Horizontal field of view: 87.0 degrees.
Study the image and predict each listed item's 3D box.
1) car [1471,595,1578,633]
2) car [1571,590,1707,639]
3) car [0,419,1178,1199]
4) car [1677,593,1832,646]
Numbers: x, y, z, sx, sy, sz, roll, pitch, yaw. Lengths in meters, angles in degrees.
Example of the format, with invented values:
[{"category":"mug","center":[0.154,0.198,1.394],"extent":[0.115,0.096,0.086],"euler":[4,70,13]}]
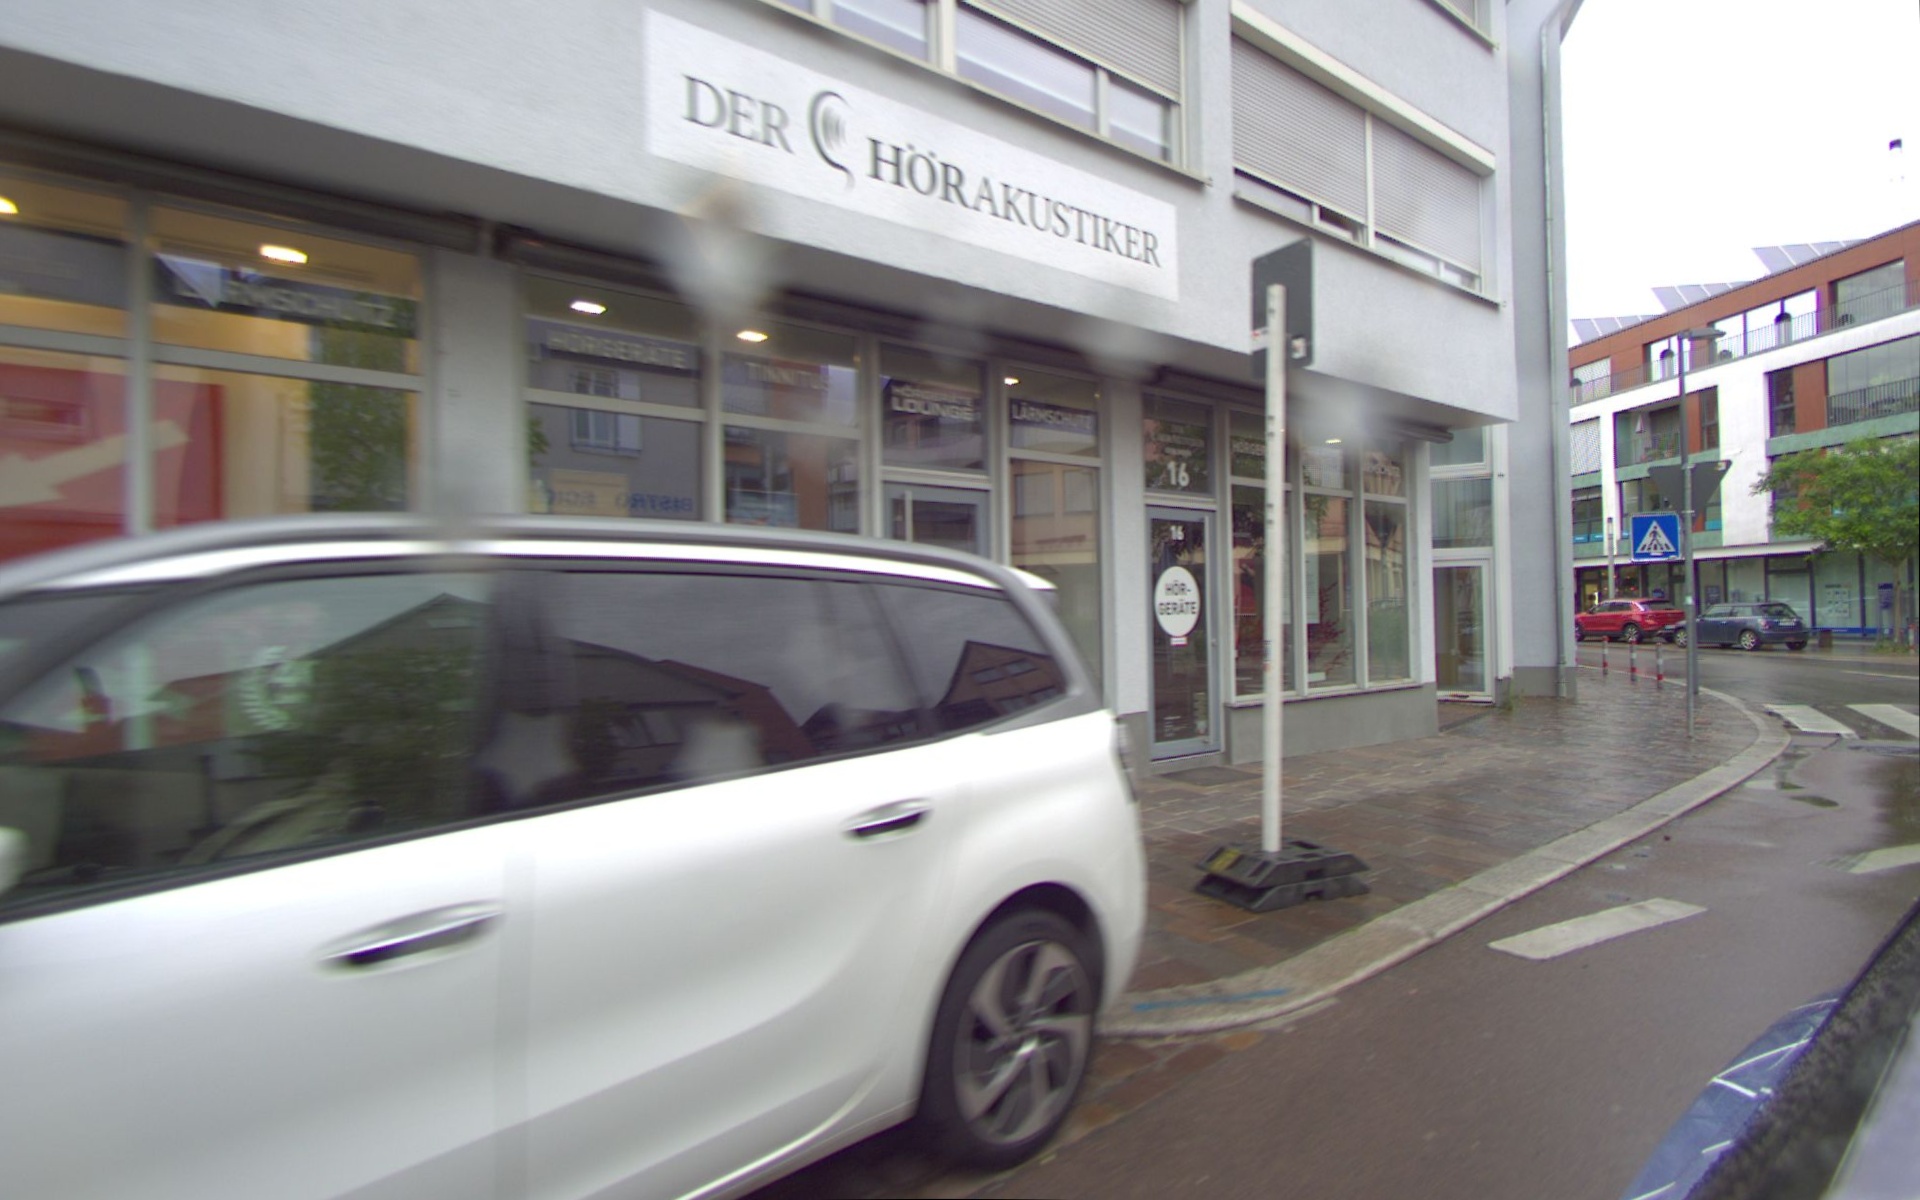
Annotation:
[{"category":"car","center":[22.906,0.566,41.236],"extent":[1.691,1.412,3.867],"euler":[-2,0,-9]},{"category":"car","center":[23.695,0.490,35.492],"extent":[1.767,1.574,3.926],"euler":[-2,0,-7]},{"category":"car","center":[-1.536,0.594,2.192],"extent":[4.368,1.619,1.788],"euler":[-2,0,-45]},{"category":"car","center":[23.901,0.556,30.625],"extent":[1.647,1.454,3.588],"euler":[-2,0,-3]}]
